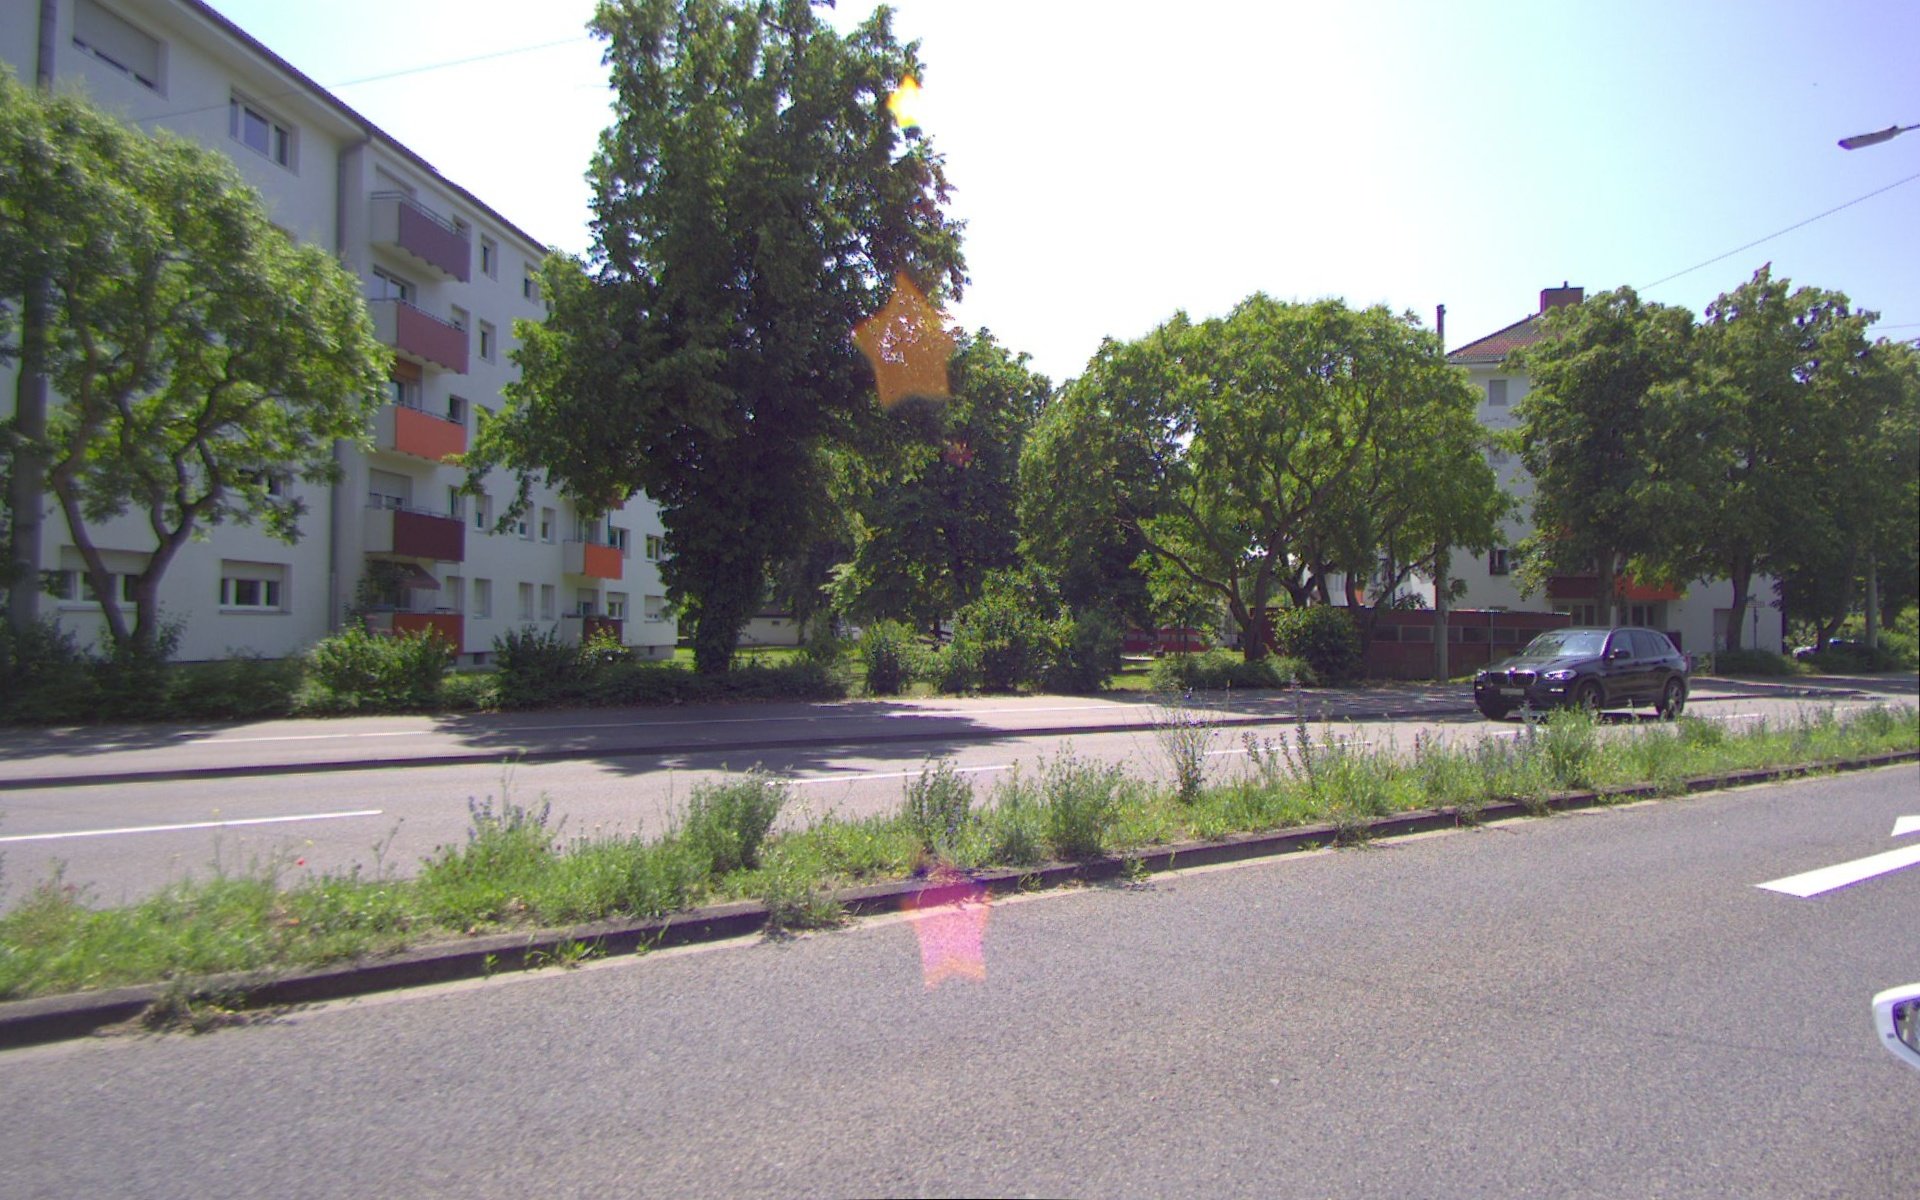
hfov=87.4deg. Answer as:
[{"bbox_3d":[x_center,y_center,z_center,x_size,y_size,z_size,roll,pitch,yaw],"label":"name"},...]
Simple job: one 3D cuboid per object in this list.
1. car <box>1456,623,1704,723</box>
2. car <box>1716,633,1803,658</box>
[{"bbox_3d":[11.488,1.310,18.547,4.700,1.647,1.914,2,-3,-30],"label":"car"},{"bbox_3d":[58.771,3.328,73.898,1.980,1.781,4.636,1,-2,-35],"label":"car"}]
